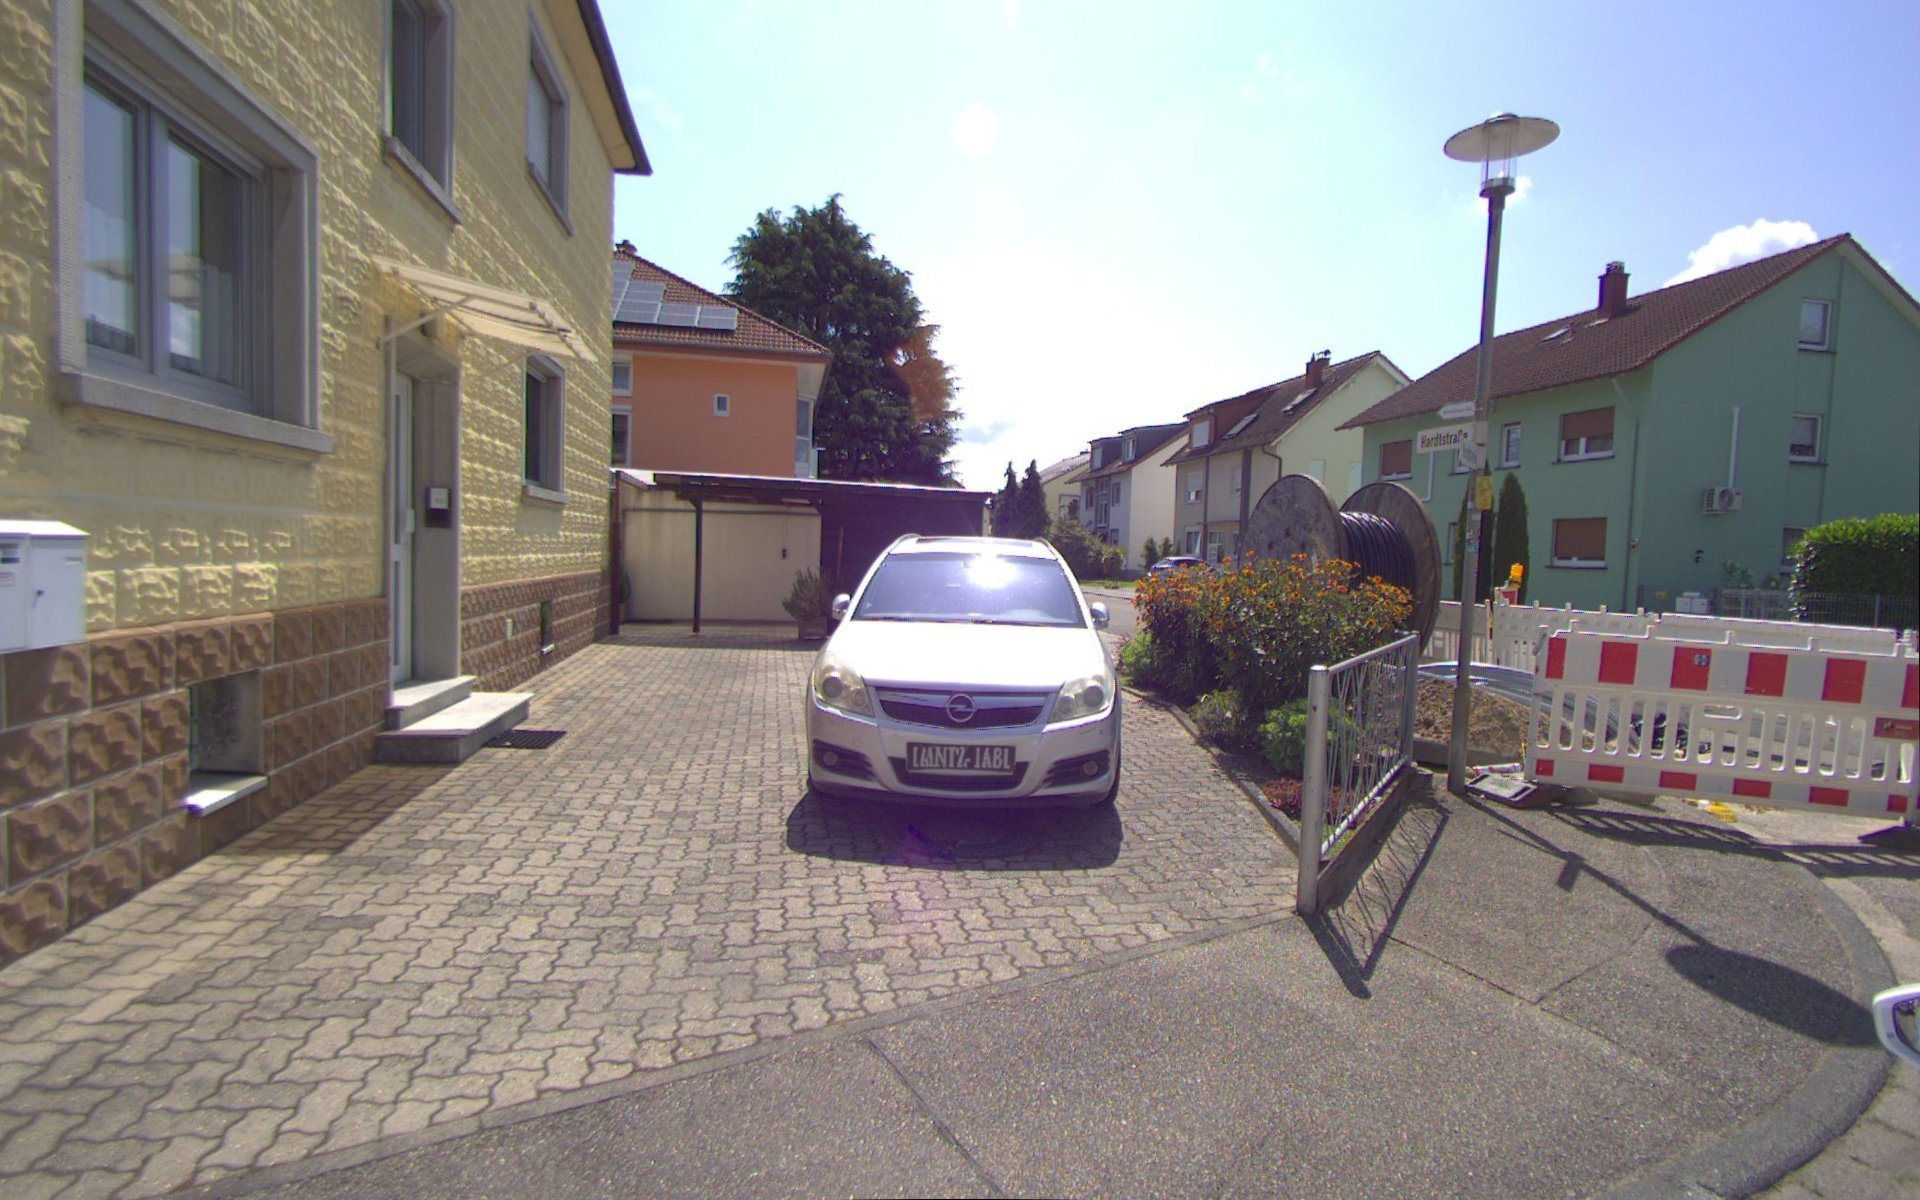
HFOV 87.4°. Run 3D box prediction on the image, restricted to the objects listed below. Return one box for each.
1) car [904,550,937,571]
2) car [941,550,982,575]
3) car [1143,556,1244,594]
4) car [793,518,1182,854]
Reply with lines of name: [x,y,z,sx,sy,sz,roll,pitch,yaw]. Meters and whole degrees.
car: [-3.123,-3.147,78.946,1.783,1.515,3.988,1,3,-14]
car: [0.083,-2.515,66.362,1.783,1.515,3.988,1,3,-14]
car: [10.033,-1.102,43.318,3.856,1.530,1.770,1,3,-11]
car: [0.105,0.309,6.888,1.757,1.505,4.471,2,3,-1]
